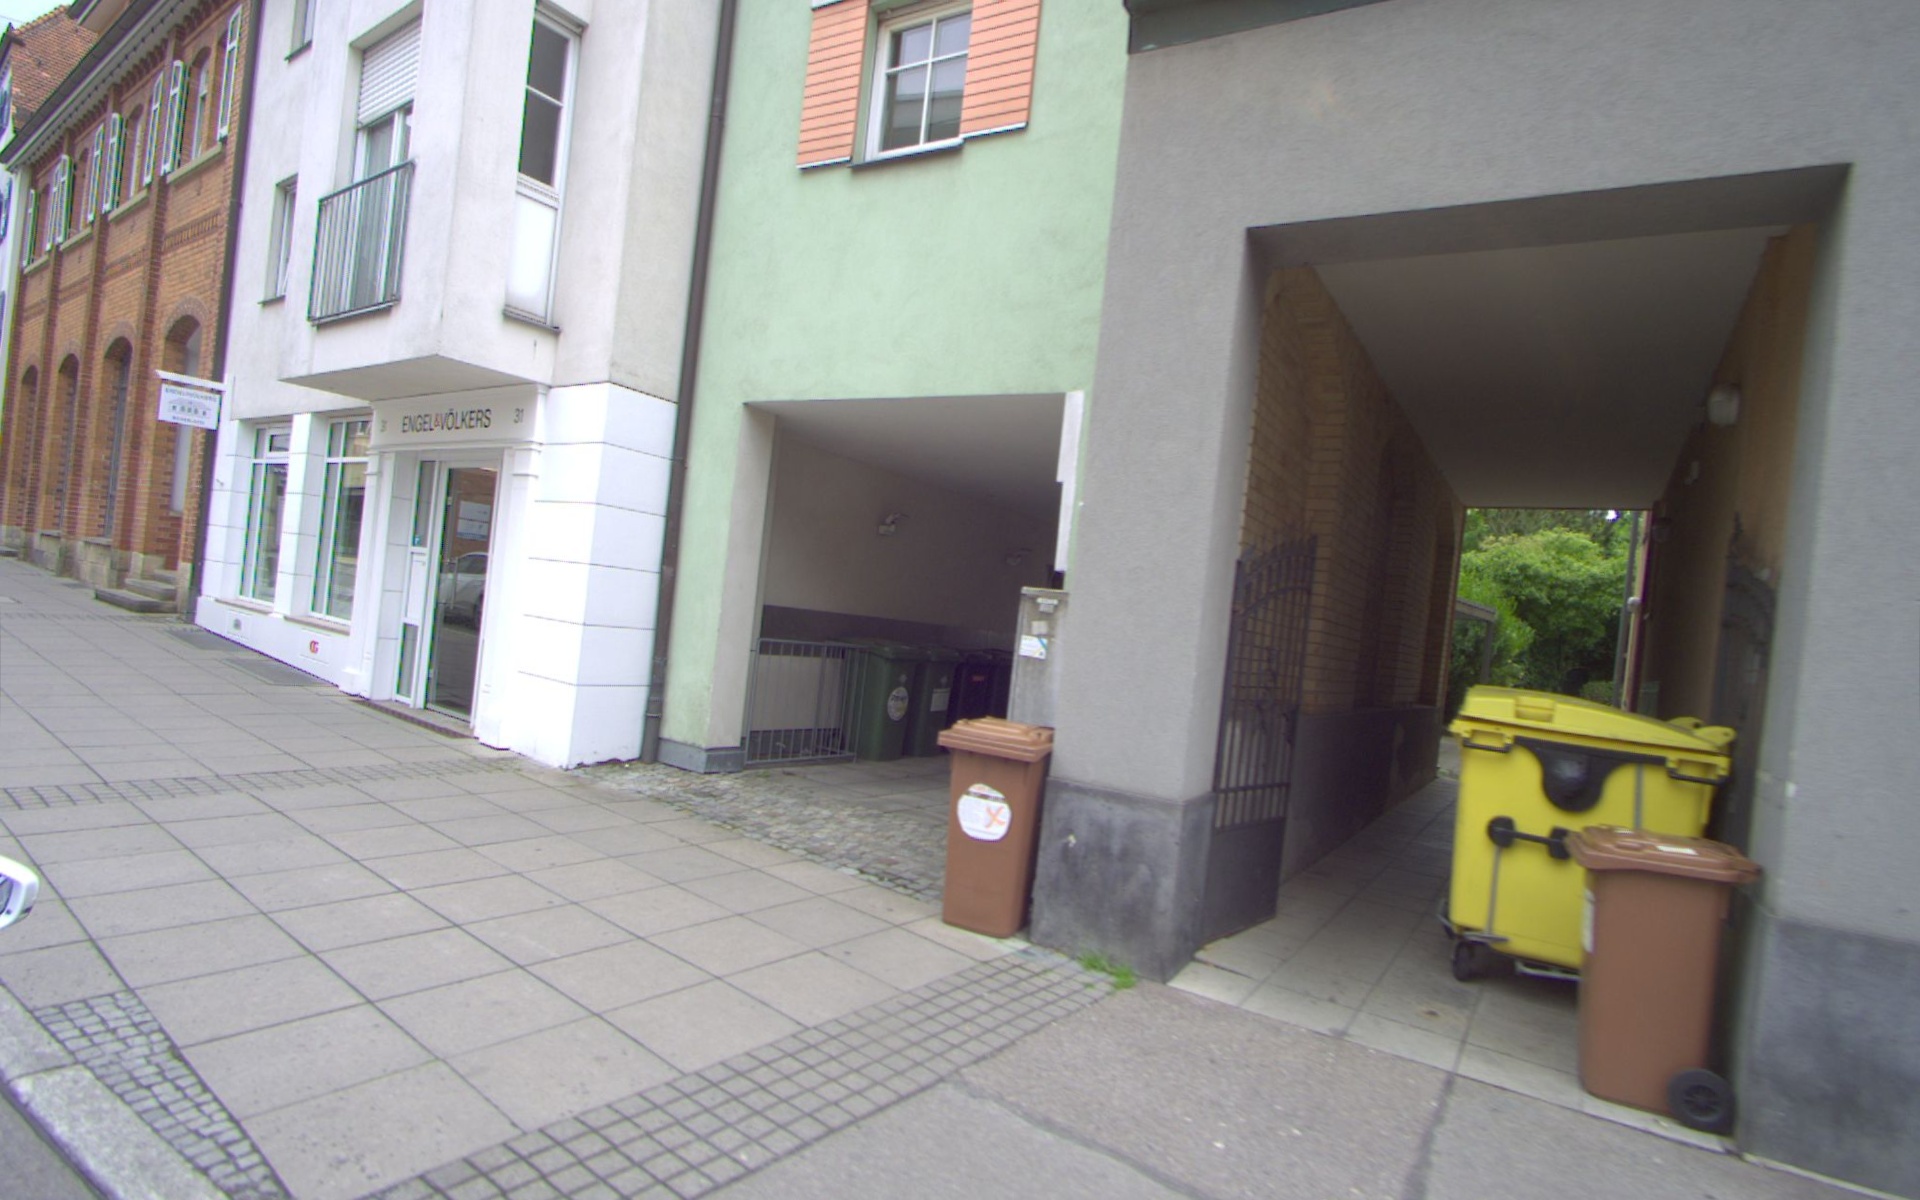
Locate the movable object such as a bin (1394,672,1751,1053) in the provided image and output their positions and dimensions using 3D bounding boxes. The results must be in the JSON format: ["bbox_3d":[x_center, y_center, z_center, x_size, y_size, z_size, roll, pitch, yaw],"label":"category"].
[{"bbox_3d":[2.947,1.103,4.908,1.140,1.330,1.672,7,0,33],"label":"movable object such as a bin"}]

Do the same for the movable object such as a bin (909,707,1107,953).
[{"bbox_3d":[0.228,1.001,4.597,0.572,0.932,0.620,7,1,34],"label":"movable object such as a bin"}]

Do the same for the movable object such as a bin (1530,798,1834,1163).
[{"bbox_3d":[2.517,1.276,3.582,0.727,0.945,0.580,7,1,33],"label":"movable object such as a bin"}]

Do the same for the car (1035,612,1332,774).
[{"bbox_3d":[2.827,1.089,12.066,1.872,1.415,3.986,7,0,37],"label":"car"}]
